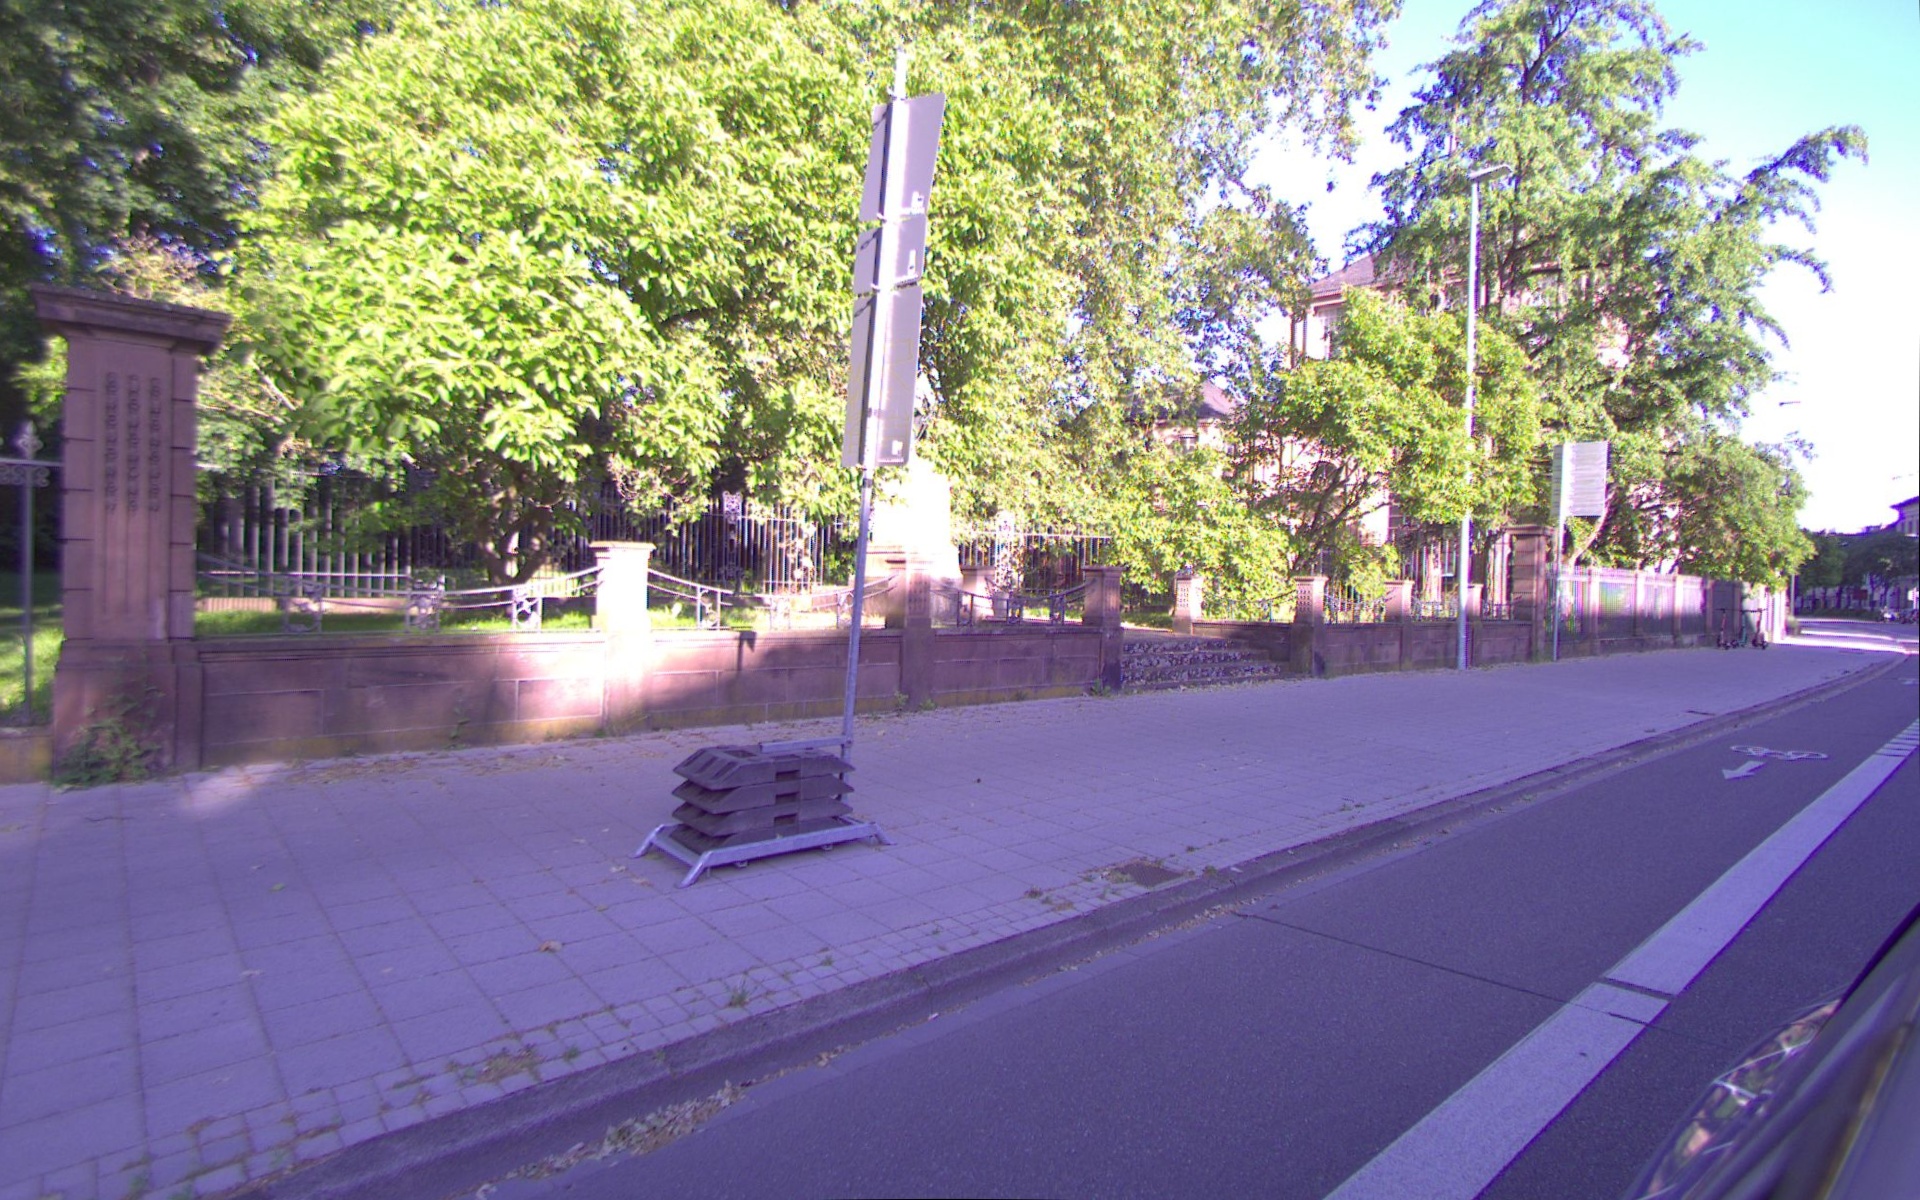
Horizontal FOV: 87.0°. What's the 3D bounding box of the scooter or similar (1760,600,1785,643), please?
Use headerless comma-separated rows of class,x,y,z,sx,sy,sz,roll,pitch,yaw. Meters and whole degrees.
scooter or similar,24.719,0.637,30.794,0.514,1.255,1.502,2,2,37

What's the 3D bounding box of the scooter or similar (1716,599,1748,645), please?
scooter or similar,22.272,0.609,29.221,0.572,1.269,1.470,2,2,33

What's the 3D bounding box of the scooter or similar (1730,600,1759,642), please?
scooter or similar,23.619,0.626,30.445,0.574,1.199,1.465,3,2,41
